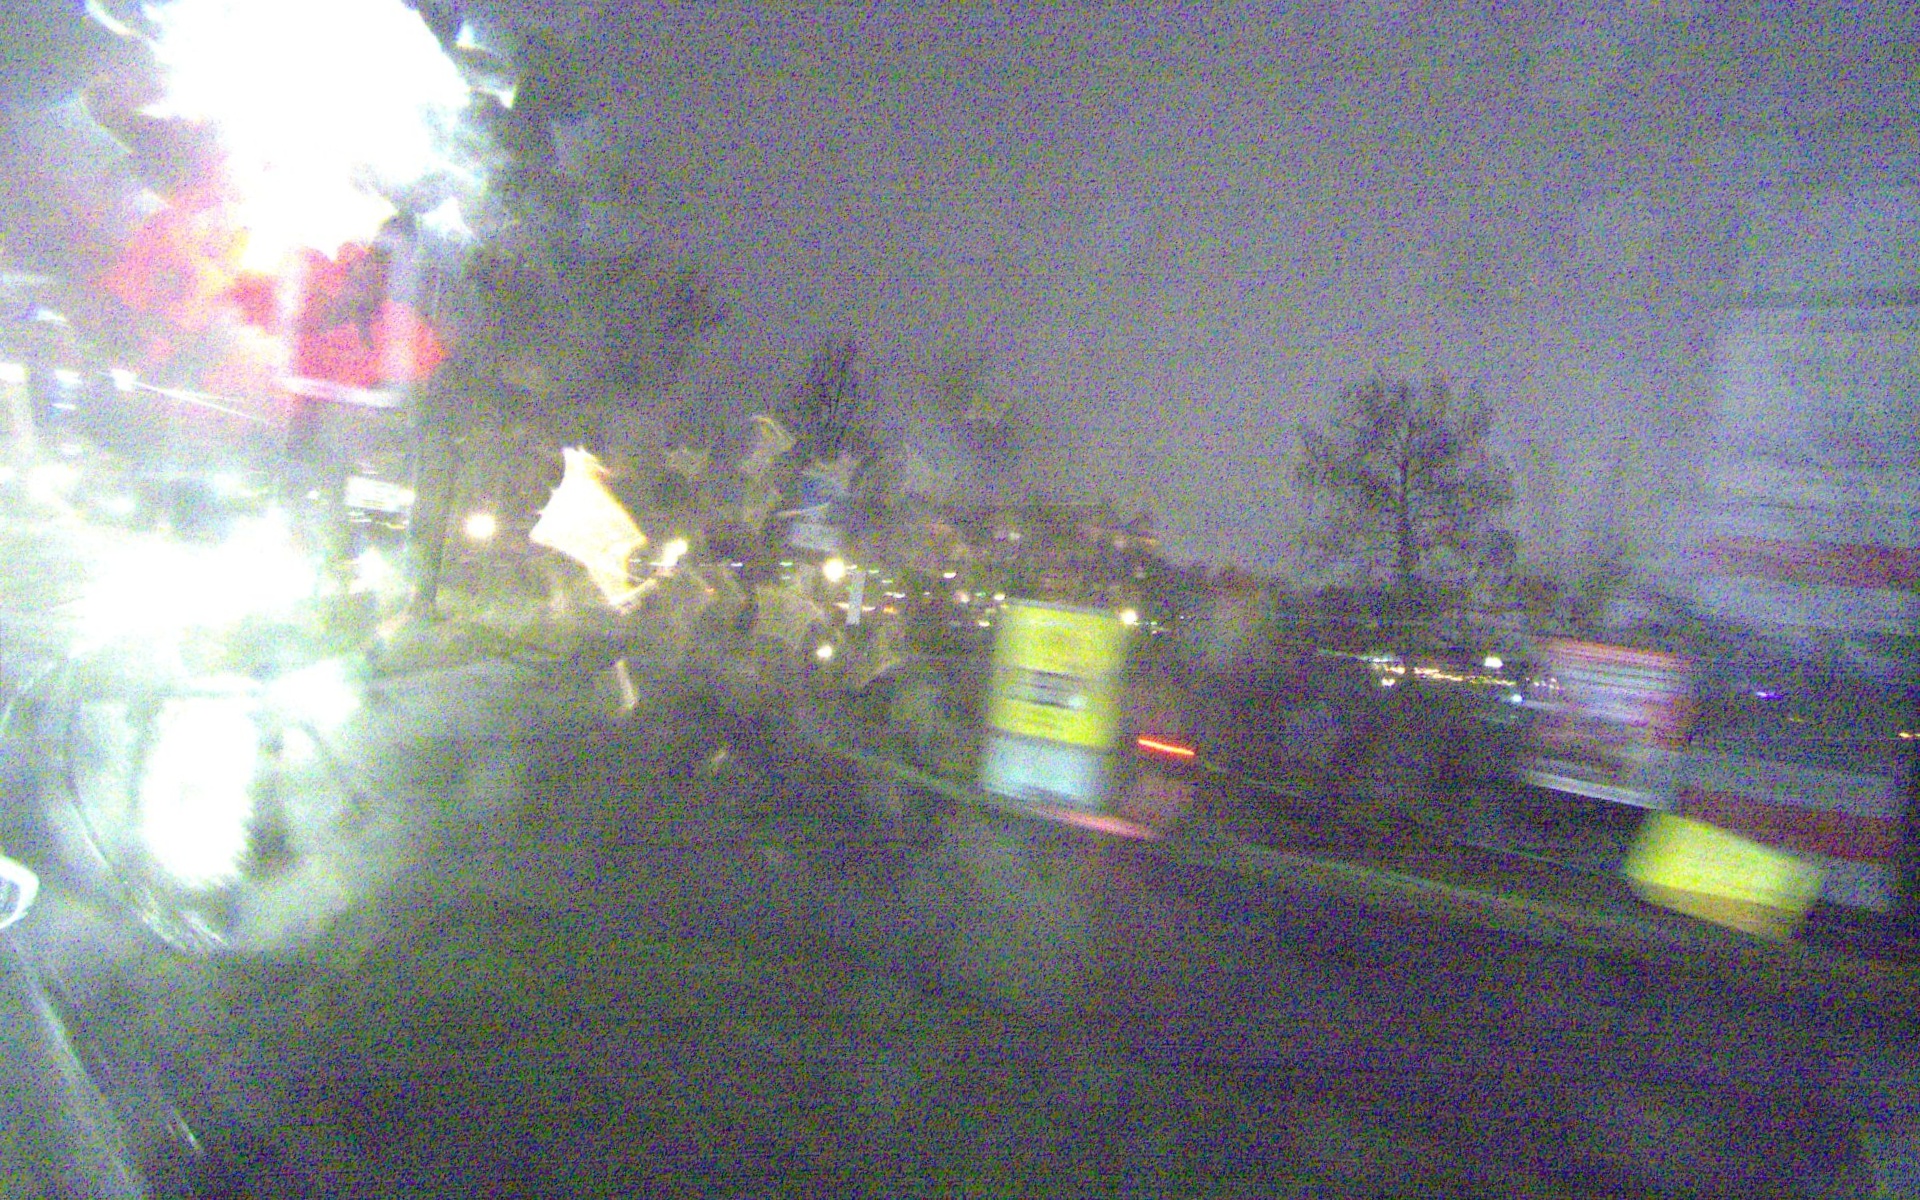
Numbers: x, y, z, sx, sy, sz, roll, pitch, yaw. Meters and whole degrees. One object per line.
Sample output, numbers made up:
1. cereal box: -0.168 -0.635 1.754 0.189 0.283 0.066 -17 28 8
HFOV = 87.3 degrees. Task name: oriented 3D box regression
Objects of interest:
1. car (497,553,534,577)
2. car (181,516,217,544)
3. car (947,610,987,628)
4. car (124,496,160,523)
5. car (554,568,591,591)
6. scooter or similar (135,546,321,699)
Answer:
1. car: -37.658 -2.966 85.151 1.711 1.554 3.867 9 -2 -41
2. car: -53.538 -4.898 70.751 1.710 1.513 3.870 8 -4 -41
3. car: 0.770 2.254 118.102 1.711 1.554 4.939 9 -2 -41
4. car: -55.916 -6.178 68.727 1.711 1.514 3.867 9 -2 -41
5. car: -33.995 -1.818 88.179 1.711 1.554 3.867 9 -2 -41
6. scooter or similar: -5.829 0.201 8.040 1.096 1.111 0.314 7 0 -41
